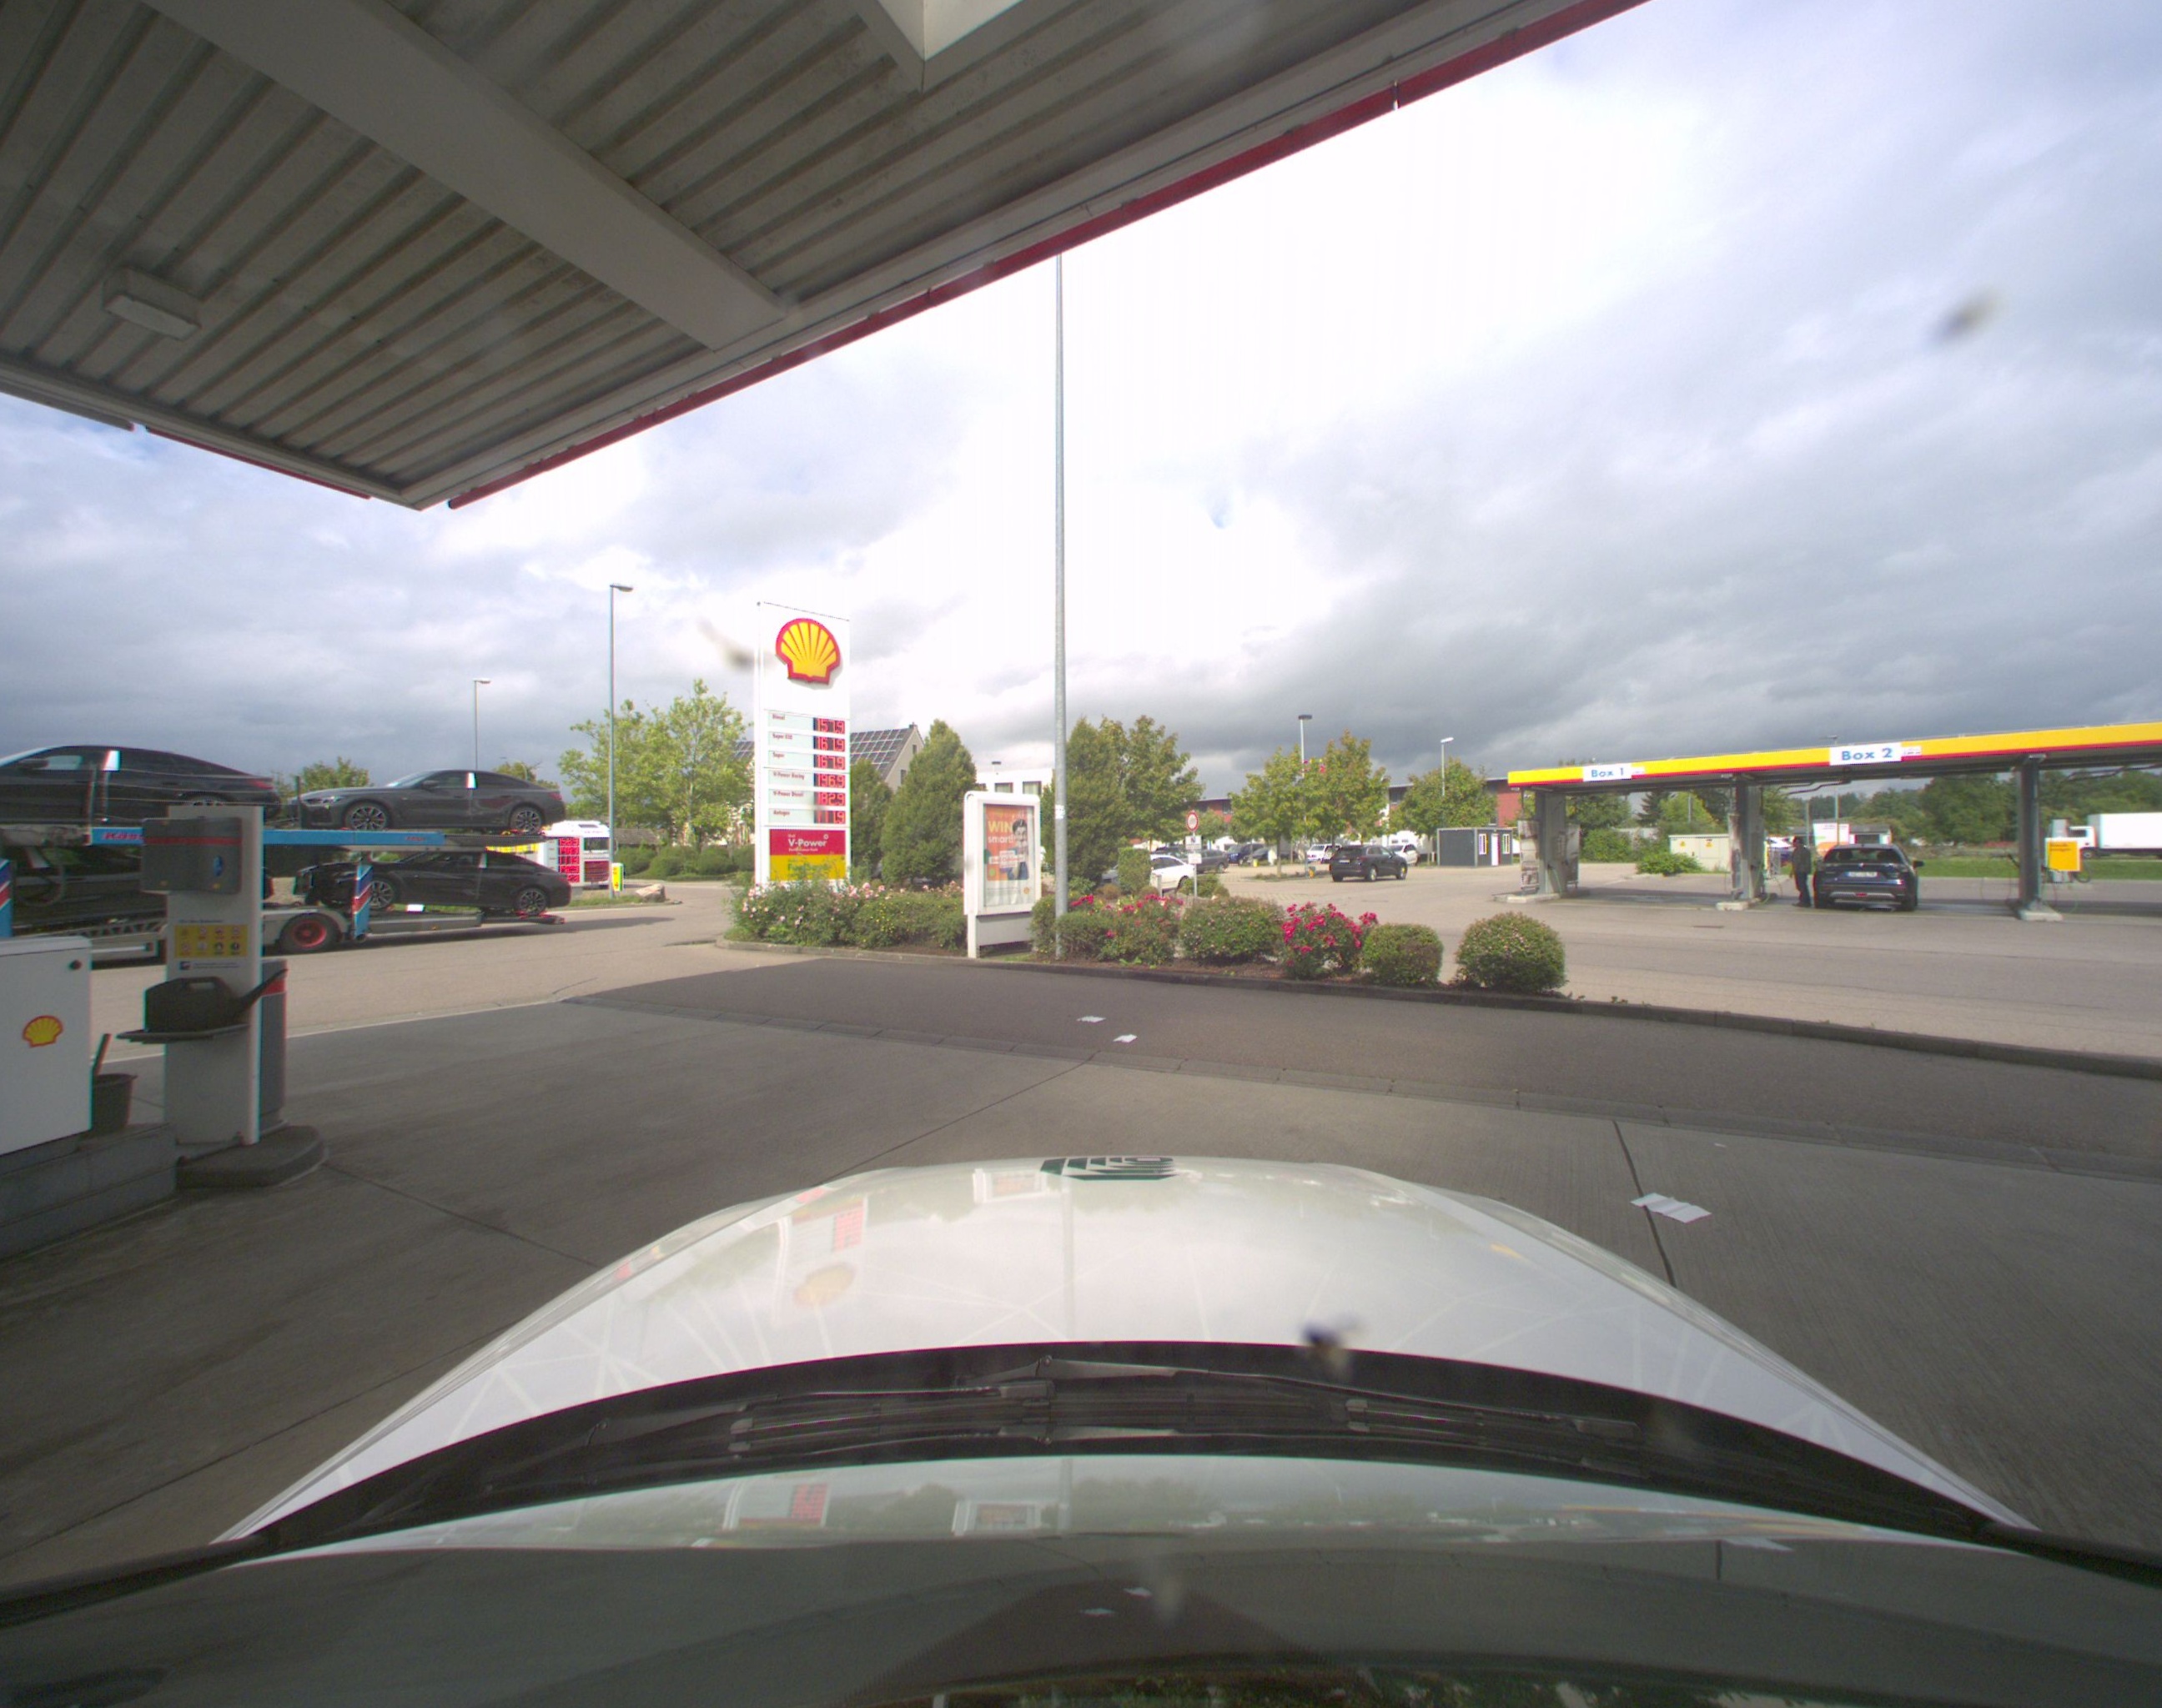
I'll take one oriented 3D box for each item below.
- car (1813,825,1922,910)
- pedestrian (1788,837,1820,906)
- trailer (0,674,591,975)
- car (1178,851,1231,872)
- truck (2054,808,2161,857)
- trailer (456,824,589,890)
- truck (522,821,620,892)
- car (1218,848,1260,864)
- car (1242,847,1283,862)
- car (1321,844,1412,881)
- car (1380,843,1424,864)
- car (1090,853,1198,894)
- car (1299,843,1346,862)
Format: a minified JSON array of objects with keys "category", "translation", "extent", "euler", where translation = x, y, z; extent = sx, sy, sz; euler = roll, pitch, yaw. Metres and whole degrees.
[{"category":"car","translation":[19.433,0.316,20.070],"extent":[3.828,1.897,1.703],"euler":[0,-1,-43]},{"category":"pedestrian","translation":[18.249,0.439,20.569],"extent":[0.551,1.722,0.531],"euler":[-1,-1,38]},{"category":"trailer","translation":[-16.440,-0.416,13.677],"extent":[2.711,4.423,14.450],"euler":[-1,-1,31]},{"category":"car","translation":[7.533,0.446,49.700],"extent":[3.245,1.228,1.488],"euler":[0,-1,-42]},{"category":"truck","translation":[78.224,-1.553,60.006],"extent":[7.989,3.534,2.714],"euler":[-1,-1,41]},{"category":"trailer","translation":[-35.199,0.241,51.022],"extent":[12.548,3.776,2.757],"euler":[-1,-1,36]},{"category":"truck","translation":[-29.344,0.164,46.795],"extent":[5.842,3.846,2.759],"euler":[-1,-1,36]},{"category":"car","translation":[12.942,0.179,66.654],"extent":[3.407,1.320,1.726],"euler":[0,-1,-42]},{"category":"car","translation":[14.485,0.032,64.870],"extent":[3.437,1.179,1.468],"euler":[0,-1,-42]},{"category":"car","translation":[12.870,0.373,36.574],"extent":[4.527,1.548,1.864],"euler":[0,-1,-41]},{"category":"car","translation":[20.600,-0.048,52.210],"extent":[3.120,1.307,1.352],"euler":[0,-1,-42]},{"category":"car","translation":[2.388,0.681,30.015],"extent":[4.368,1.404,1.354],"euler":[0,-1,-42]},{"category":"car","translation":[23.865,-0.124,80.263],"extent":[4.903,1.833,2.159],"euler":[0,-1,-41]}]
